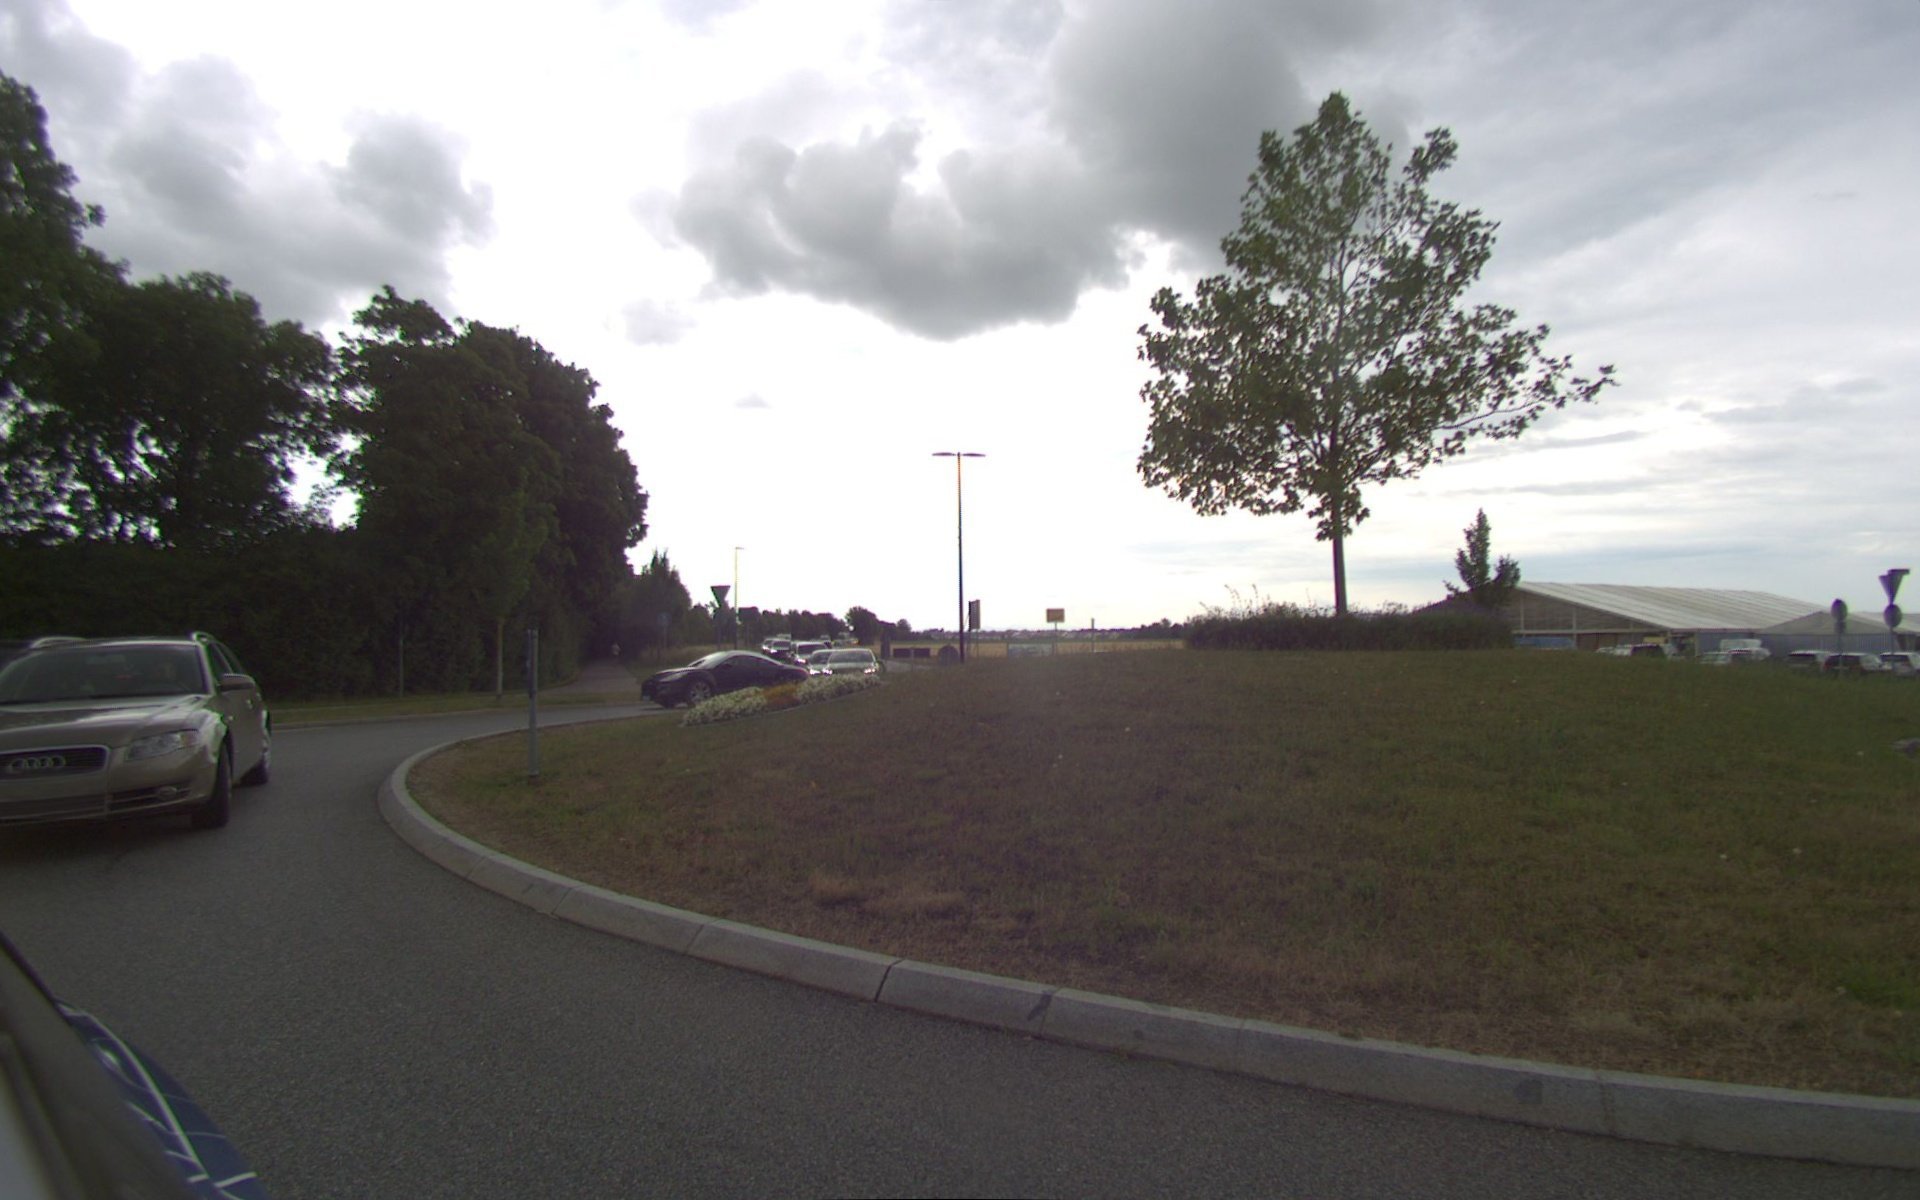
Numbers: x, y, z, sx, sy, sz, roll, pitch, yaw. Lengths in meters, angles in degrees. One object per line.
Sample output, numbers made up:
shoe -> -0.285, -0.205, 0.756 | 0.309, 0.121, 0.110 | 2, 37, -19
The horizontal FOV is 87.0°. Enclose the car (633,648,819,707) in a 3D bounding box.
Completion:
car -> -5.682, 1.867, 24.755 | 4.047, 1.317, 1.835 | 2, -4, -36

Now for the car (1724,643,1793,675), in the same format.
car -> 42.872, 3.123, 54.331 | 3.765, 1.619, 1.840 | 1, -3, -34

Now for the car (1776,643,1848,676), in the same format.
car -> 43.796, 3.014, 52.007 | 3.765, 1.619, 1.840 | 1, -3, -34

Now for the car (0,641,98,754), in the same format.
car -> -15.186, 1.400, 14.279 | 4.515, 1.586, 2.003 | 4, -7, -41

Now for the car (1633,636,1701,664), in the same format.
car -> 40.614, 2.847, 58.091 | 3.934, 1.453, 1.956 | 0, -1, -35

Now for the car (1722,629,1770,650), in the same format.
car -> 62.024, 3.136, 79.835 | 3.765, 1.619, 1.840 | 1, -3, -34

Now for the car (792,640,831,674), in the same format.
car -> -7.053, 2.654, 47.823 | 1.753, 1.510, 3.818 | -1, -2, -9

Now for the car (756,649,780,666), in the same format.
car -> -16.901, 5.058, 88.932 | 1.752, 1.328, 3.821 | -1, -2, -15

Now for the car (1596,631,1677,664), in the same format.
car -> 30.750, 2.146, 46.119 | 1.935, 1.453, 3.977 | -1, -2, 17

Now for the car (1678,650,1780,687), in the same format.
car -> 36.277, 3.188, 47.872 | 1.709, 1.619, 3.877 | 0, -2, -1

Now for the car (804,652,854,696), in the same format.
car -> -5.132, 2.834, 39.306 | 1.753, 1.510, 3.818 | -1, -2, -9

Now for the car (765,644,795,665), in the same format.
car -> -12.447, 3.750, 69.924 | 1.752, 1.328, 3.821 | -1, -2, -15

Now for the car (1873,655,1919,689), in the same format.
car -> 46.283, 3.486, 49.515 | 3.936, 1.565, 1.735 | 1, -3, -39

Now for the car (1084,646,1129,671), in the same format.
car -> 8.357, 3.304, 57.858 | 1.755, 1.328, 3.813 | 0, -2, -4

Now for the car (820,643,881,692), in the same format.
car -> -3.599, 2.211, 32.790 | 1.812, 1.469, 4.142 | 0, -5, -7

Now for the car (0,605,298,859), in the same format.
car -> -6.572, 0.880, 7.976 | 1.752, 1.476, 4.555 | 0, -3, -27

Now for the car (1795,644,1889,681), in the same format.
car -> 40.400, 2.844, 46.467 | 1.621, 1.619, 3.857 | -1, -2, 15
